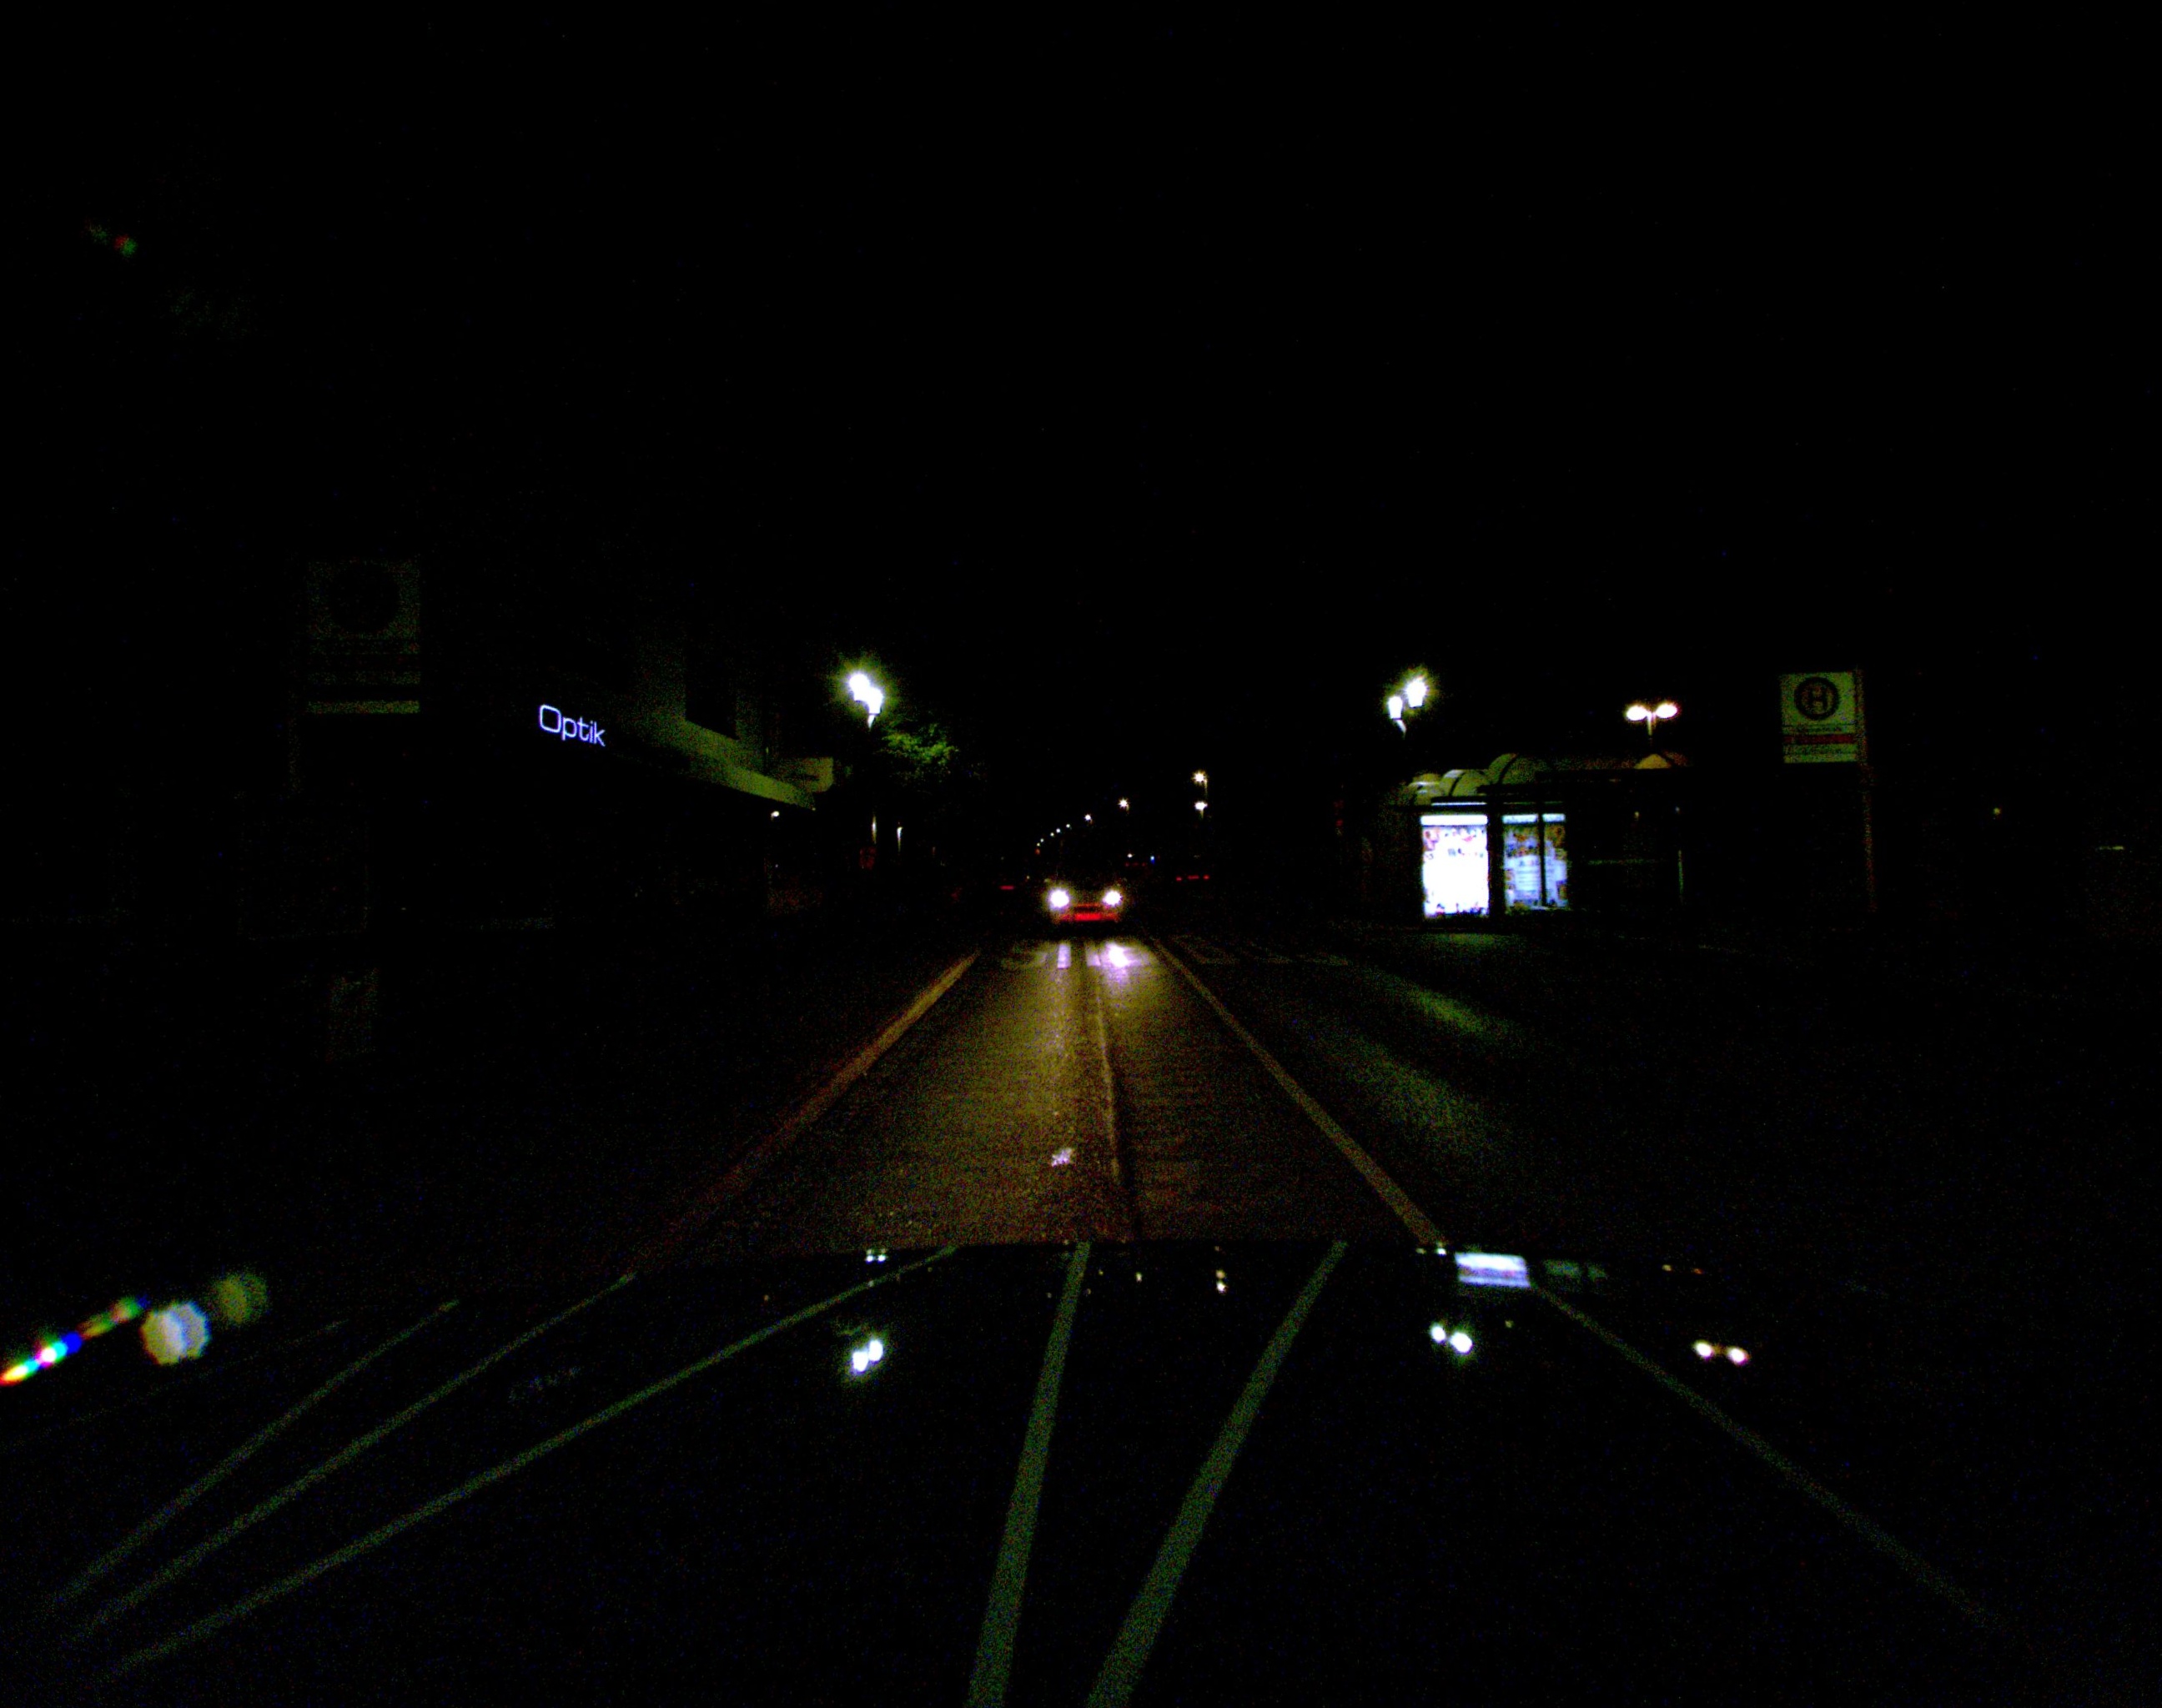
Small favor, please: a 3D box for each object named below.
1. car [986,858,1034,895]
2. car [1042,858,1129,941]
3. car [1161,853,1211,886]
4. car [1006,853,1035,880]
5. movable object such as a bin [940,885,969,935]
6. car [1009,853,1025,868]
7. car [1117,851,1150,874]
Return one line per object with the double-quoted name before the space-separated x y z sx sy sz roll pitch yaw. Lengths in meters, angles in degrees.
"car" -3.001 0.926 32.846 1.863 1.434 4.592 0 1 -3
"car" 0.164 0.892 16.494 1.627 1.496 3.550 -2 1 3
"car" 5.084 0.715 37.221 1.696 1.428 4.127 -3 0 -2
"car" -3.900 0.762 49.280 1.792 1.632 4.378 0 0 -4
"movable object such as a bin" -2.585 1.130 15.533 0.525 0.932 0.629 -2 2 -11
"car" -7.233 0.709 85.670 1.643 1.458 3.774 -3 1 -5
"car" 3.715 0.576 54.478 1.697 1.515 3.688 -2 2 -6
